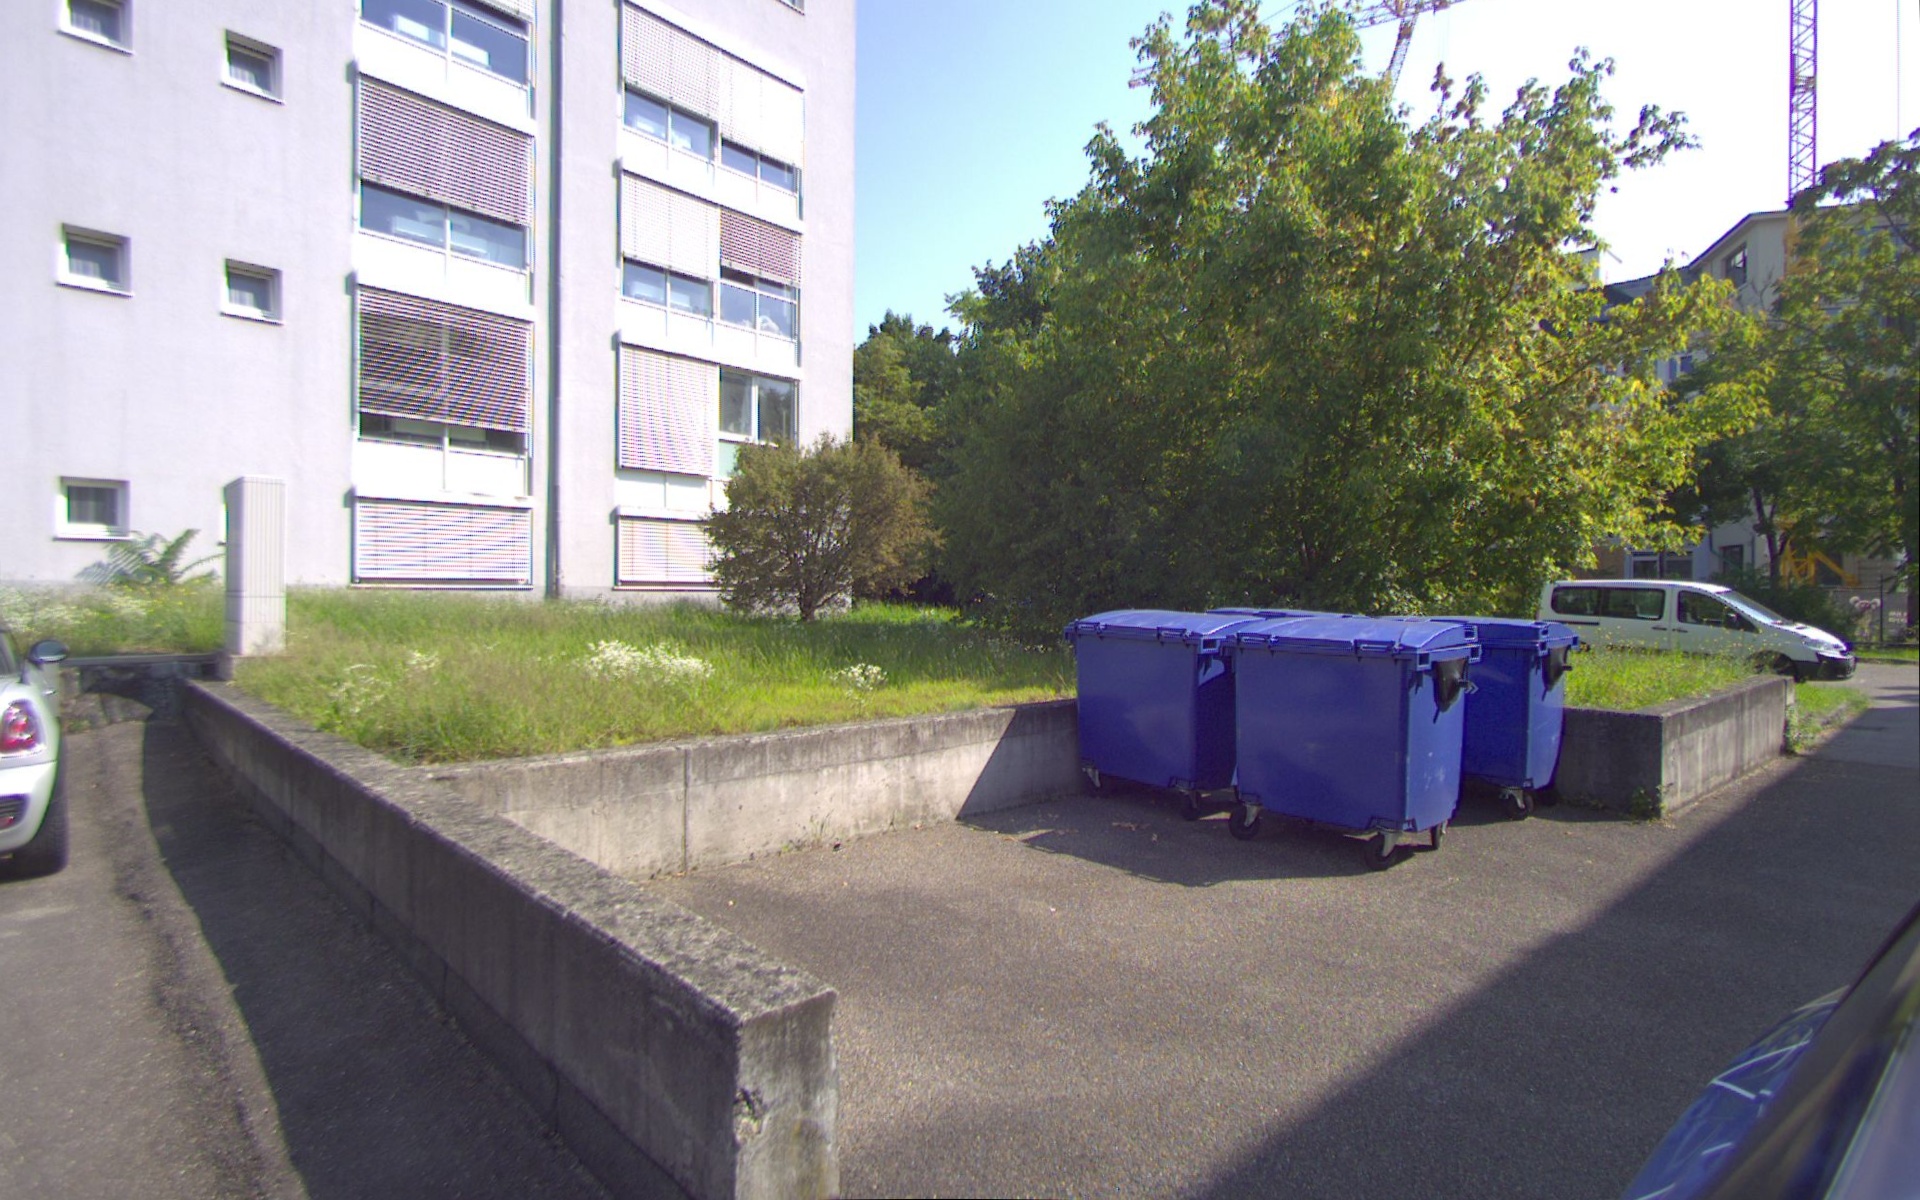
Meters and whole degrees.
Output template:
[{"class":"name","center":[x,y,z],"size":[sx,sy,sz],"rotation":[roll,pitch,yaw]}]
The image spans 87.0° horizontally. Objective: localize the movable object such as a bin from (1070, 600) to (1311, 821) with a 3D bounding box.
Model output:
[{"class":"movable object such as a bin","center":[1.604,0.685,7.122],"size":[1.097,1.357,1.237],"rotation":[-1,0,-39]}]

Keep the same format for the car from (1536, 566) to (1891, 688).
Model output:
[{"class":"car","center":[13.757,0.433,18.767],"size":[2.008,1.945,4.965],"rotation":[-1,0,-41]}]

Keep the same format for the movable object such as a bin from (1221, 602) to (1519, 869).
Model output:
[{"class":"movable object such as a bin","center":[2.465,0.702,6.109],"size":[1.175,1.357,1.301],"rotation":[-1,0,-44]}]

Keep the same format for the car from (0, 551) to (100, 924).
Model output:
[{"class":"car","center":[-6.003,0.578,5.504],"size":[1.773,1.563,3.623],"rotation":[-1,5,-44]}]

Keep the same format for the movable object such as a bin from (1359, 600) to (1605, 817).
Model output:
[{"class":"movable object such as a bin","center":[3.740,0.689,7.268],"size":[1.309,1.357,1.083],"rotation":[0,0,44]}]

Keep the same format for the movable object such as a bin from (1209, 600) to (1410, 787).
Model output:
[{"class":"movable object such as a bin","center":[2.850,0.690,8.261],"size":[1.225,1.357,1.060],"rotation":[-1,0,43]}]
